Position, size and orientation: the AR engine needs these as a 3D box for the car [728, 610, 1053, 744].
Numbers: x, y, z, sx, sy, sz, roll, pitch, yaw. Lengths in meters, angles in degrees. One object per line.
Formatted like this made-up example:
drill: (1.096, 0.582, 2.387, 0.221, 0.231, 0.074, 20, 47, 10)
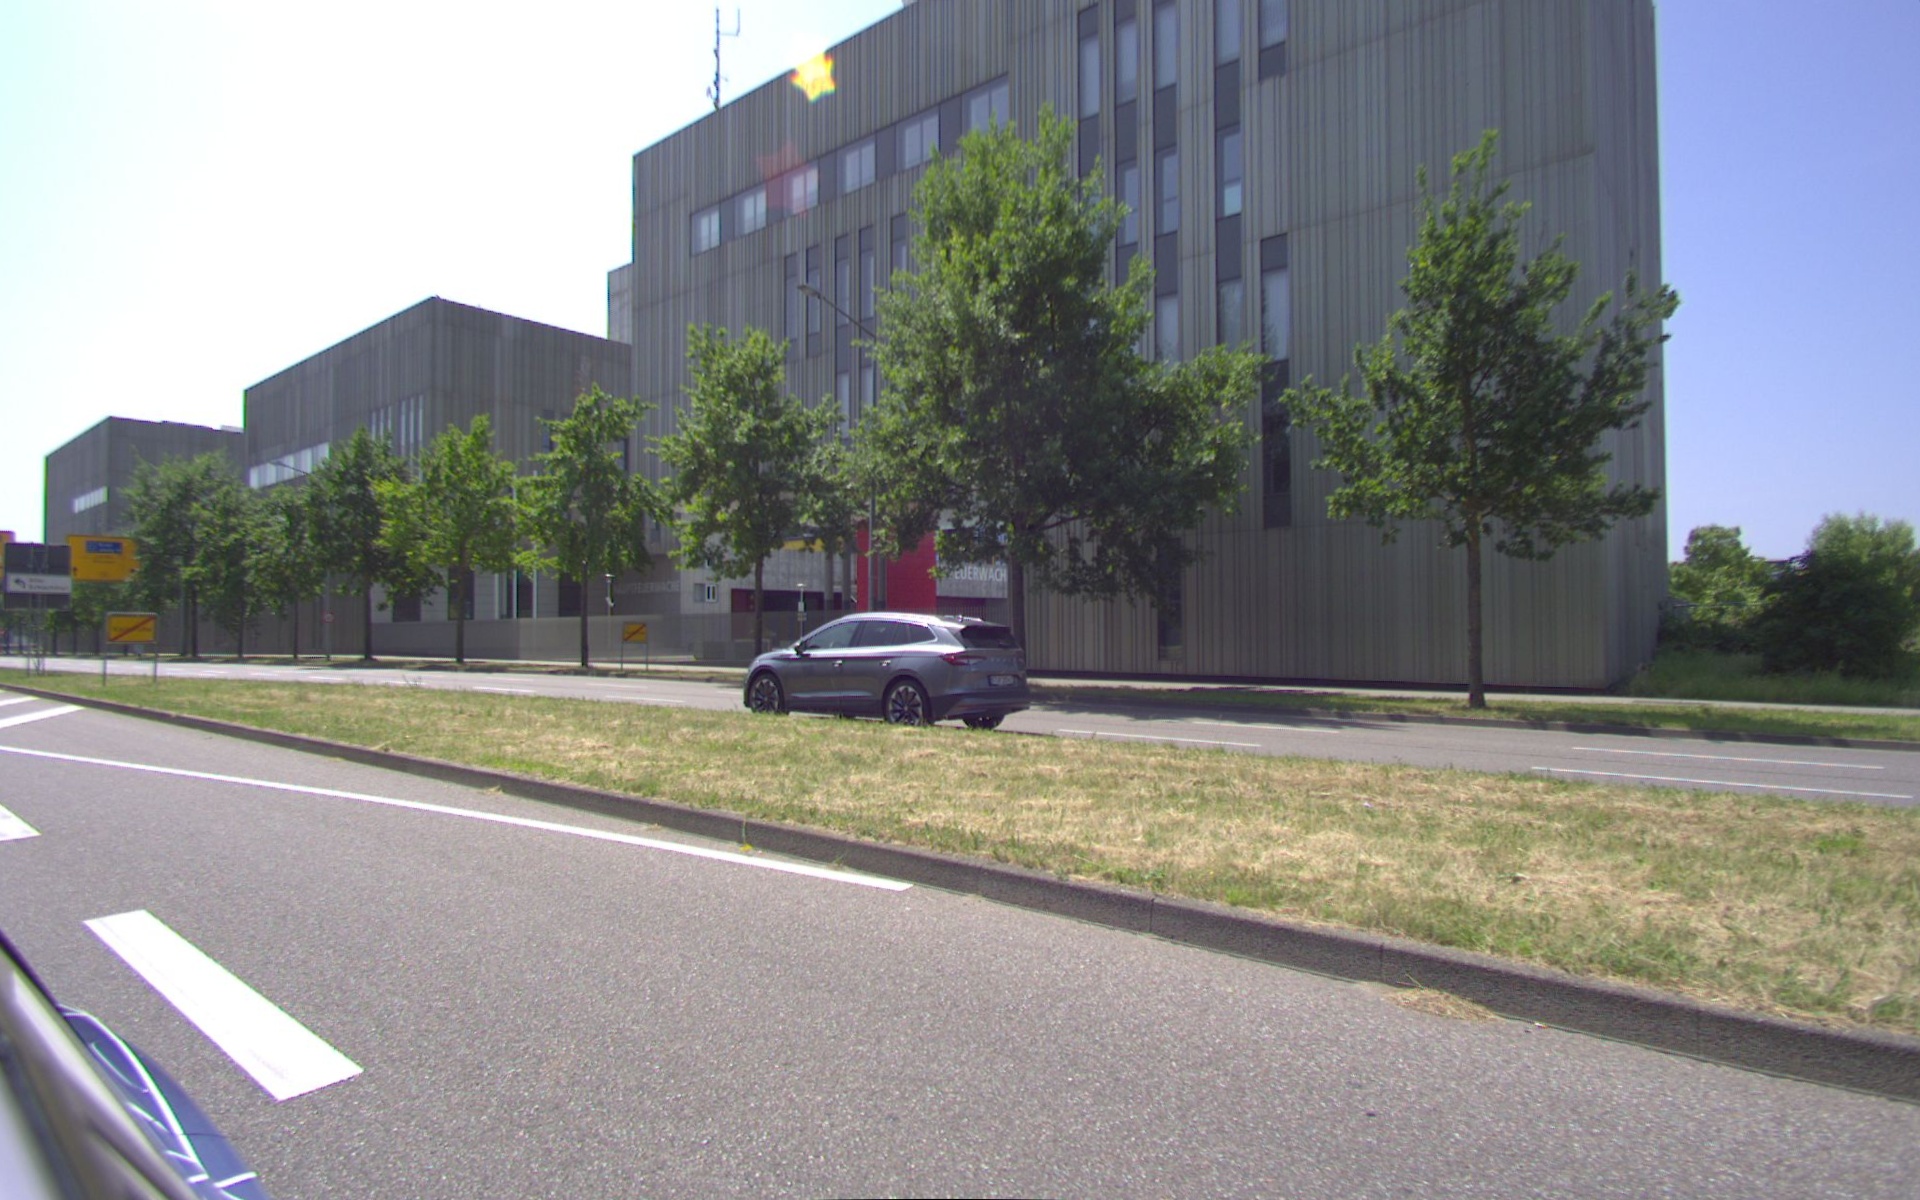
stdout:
car: (-1.088, 1.000, 14.361, 4.528, 1.623, 1.875, -2, -2, 38)
